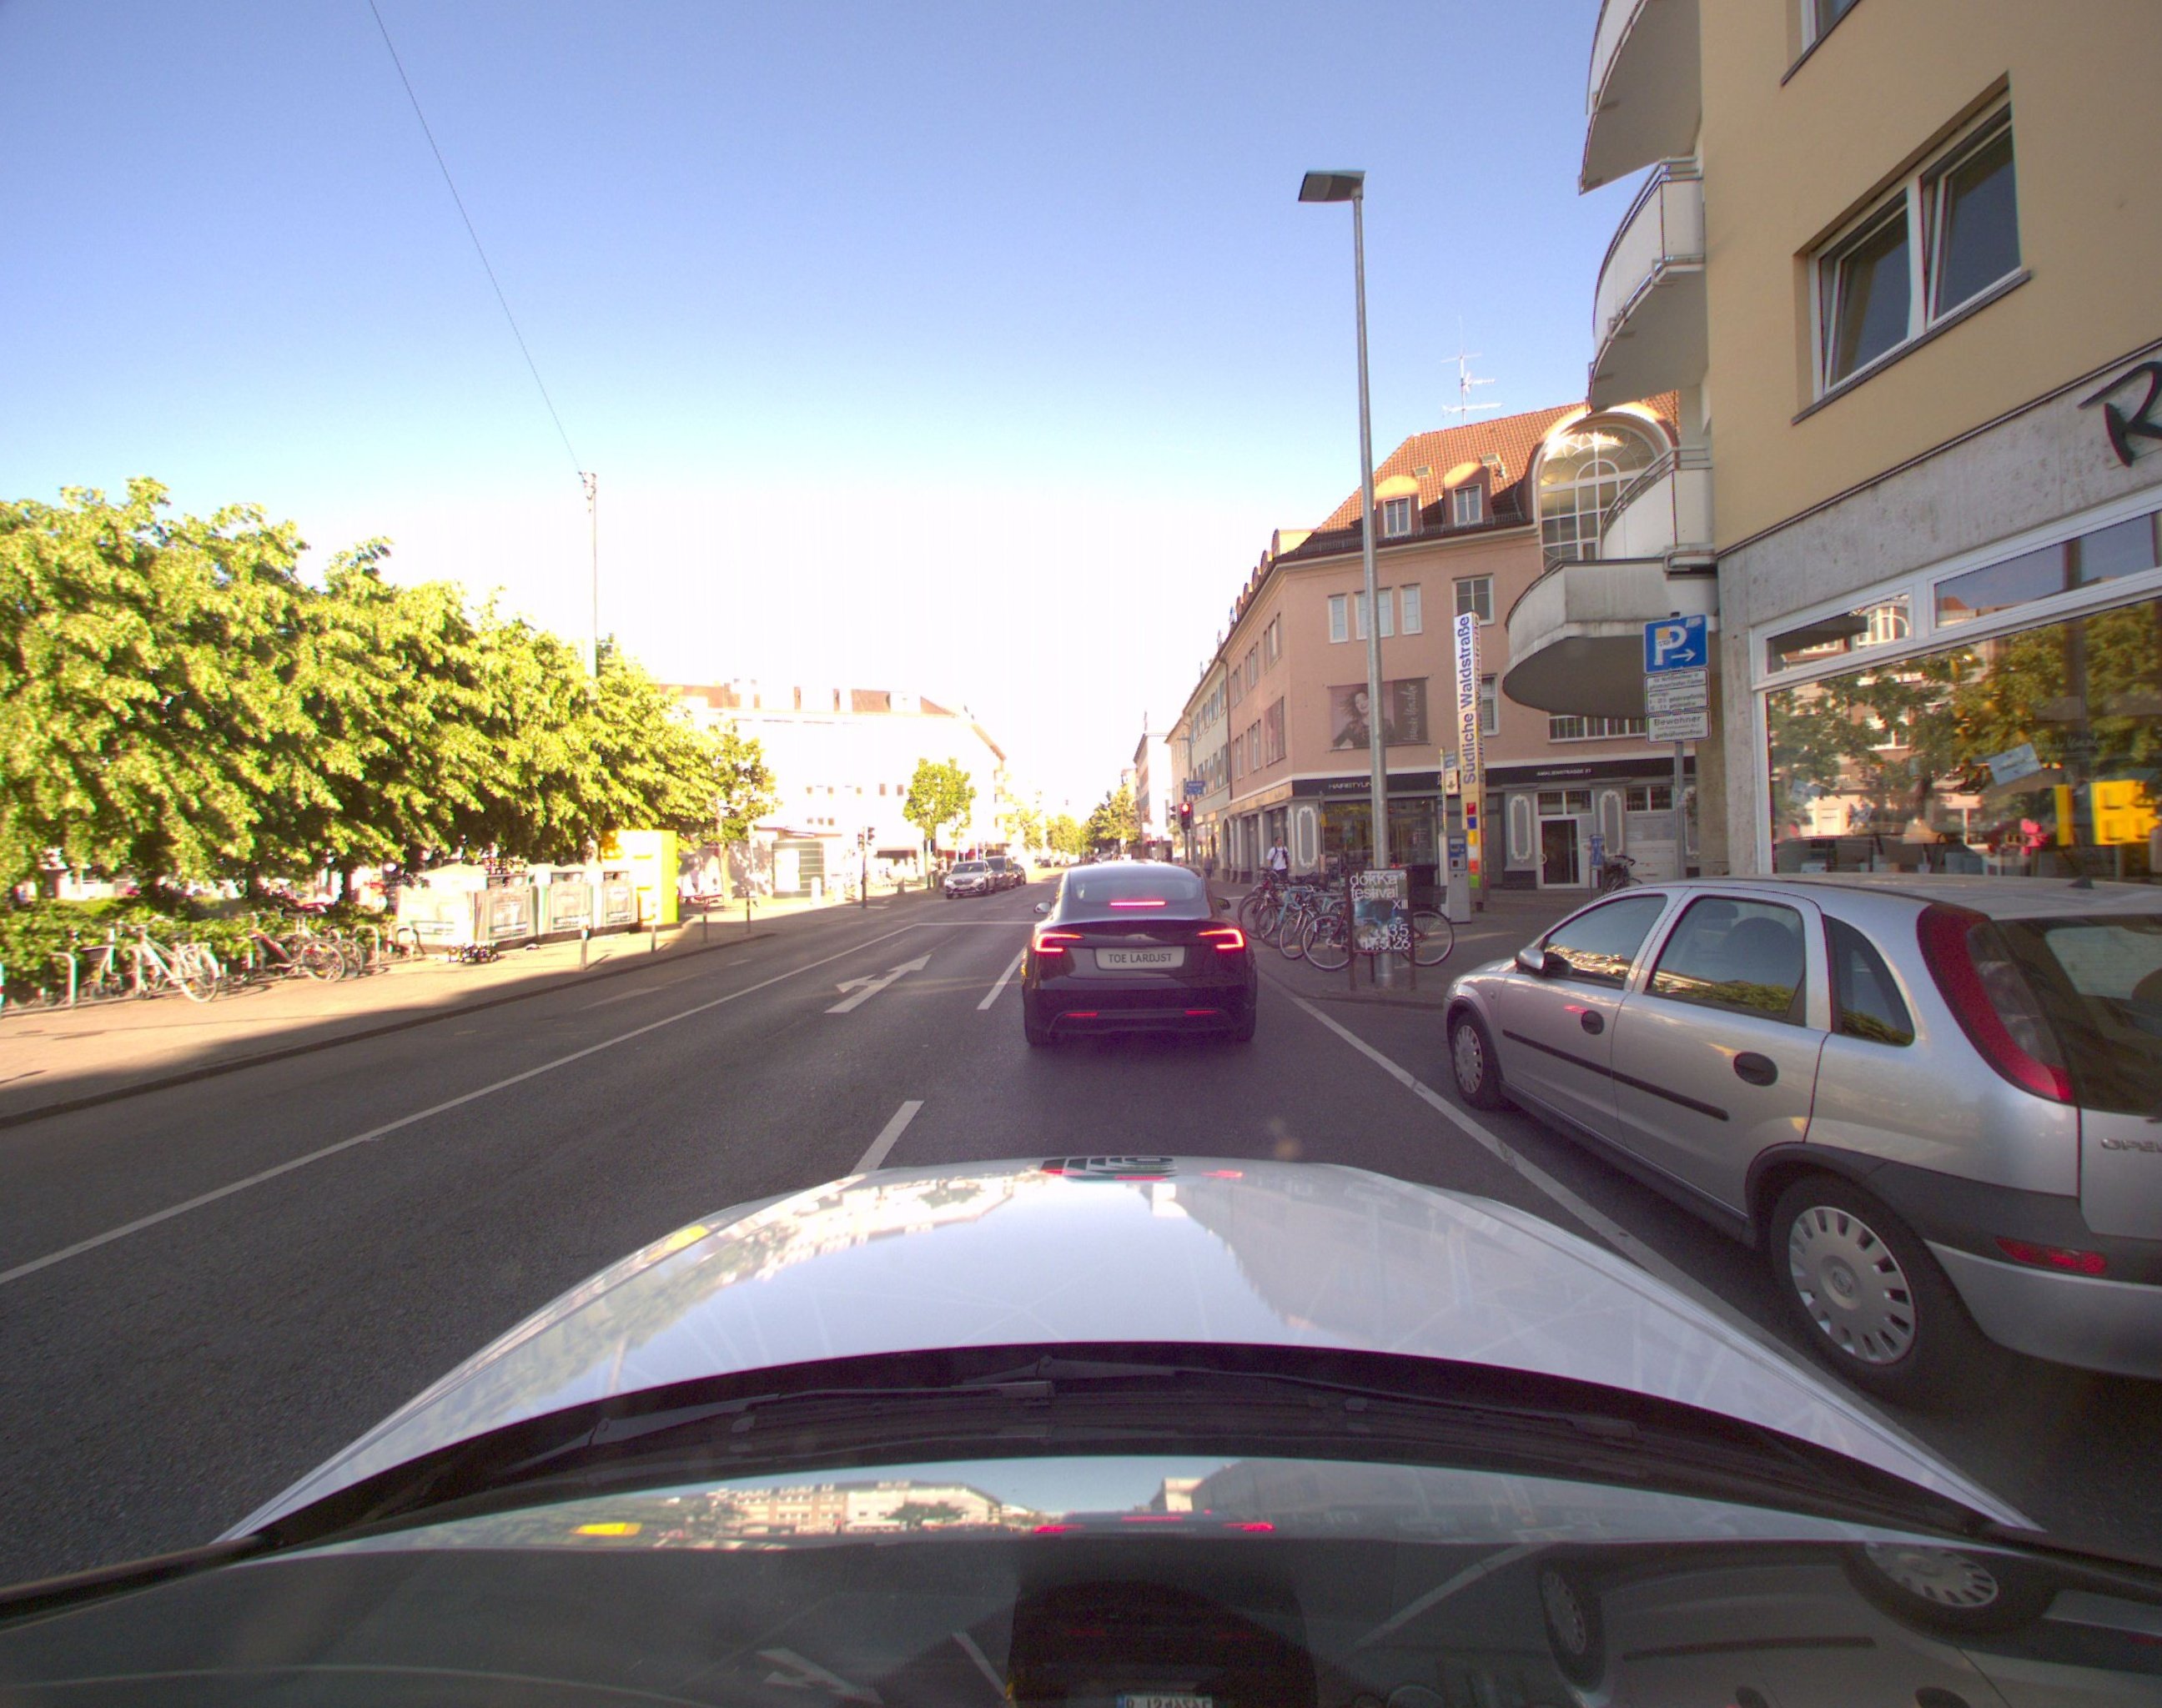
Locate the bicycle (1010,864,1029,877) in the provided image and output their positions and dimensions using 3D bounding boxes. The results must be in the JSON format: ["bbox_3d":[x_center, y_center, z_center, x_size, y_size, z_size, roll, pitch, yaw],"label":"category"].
[{"bbox_3d":[-5.170,1.375,68.532,1.562,1.012,0.480,0,-1,-22],"label":"bicycle"}]

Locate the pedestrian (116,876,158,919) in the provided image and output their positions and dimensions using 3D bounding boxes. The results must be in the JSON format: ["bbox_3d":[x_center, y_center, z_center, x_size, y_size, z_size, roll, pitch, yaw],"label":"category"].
[{"bbox_3d":[-45.141,2.062,38.937,1.145,2.013,1.040,-1,0,26],"label":"pedestrian"}]

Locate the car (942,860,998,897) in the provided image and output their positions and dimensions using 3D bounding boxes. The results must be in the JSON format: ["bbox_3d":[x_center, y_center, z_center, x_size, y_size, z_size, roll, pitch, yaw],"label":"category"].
[{"bbox_3d":[-4.884,1.043,36.394,1.782,1.460,3.759,-4,-1,2],"label":"car"}]

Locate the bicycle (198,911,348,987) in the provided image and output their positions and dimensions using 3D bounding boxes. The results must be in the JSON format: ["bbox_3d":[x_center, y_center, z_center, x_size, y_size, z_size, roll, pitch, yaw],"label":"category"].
[{"bbox_3d":[-11.546,1.343,11.645,1.913,1.003,0.518,-1,-1,11],"label":"bicycle"}]

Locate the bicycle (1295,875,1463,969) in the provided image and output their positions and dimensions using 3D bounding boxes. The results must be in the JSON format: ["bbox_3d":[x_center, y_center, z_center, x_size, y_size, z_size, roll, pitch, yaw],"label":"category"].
[{"bbox_3d":[3.630,0.830,10.004,1.862,1.038,0.354,-3,-1,8],"label":"bicycle"}]

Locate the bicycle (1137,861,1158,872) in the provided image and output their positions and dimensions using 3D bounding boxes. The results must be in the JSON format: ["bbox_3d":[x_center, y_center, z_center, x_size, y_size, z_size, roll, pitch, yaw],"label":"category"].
[{"bbox_3d":[5.793,1.082,71.192,1.787,1.007,0.469,0,-1,-15],"label":"bicycle"}]

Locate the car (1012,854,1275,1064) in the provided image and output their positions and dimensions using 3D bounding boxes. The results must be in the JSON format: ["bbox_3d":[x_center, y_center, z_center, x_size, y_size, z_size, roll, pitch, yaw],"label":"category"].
[{"bbox_3d":[0.497,0.754,7.718,1.815,1.442,4.001,-1,-1,2],"label":"car"}]

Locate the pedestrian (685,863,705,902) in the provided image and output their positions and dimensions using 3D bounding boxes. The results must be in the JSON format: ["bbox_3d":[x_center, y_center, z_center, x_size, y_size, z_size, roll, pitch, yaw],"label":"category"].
[{"bbox_3d":[-17.184,1.273,36.275,0.472,1.716,0.713,-1,-1,11],"label":"pedestrian"}]

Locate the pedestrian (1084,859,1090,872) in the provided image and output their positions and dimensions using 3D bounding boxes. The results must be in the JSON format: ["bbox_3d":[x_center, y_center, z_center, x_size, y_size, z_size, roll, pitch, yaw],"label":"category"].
[{"bbox_3d":[0.729,1.300,93.812,0.524,1.422,0.475,0,-1,-28],"label":"pedestrian"}]

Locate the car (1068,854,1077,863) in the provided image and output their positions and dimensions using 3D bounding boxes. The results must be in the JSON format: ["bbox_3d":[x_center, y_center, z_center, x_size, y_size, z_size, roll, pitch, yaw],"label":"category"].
[{"bbox_3d":[-1.903,0.944,187.431,1.986,2.013,4.001,-1,0,2],"label":"car"}]

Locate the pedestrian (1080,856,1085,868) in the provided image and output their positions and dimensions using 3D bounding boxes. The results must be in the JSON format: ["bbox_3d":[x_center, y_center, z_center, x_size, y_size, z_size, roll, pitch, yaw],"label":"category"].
[{"bbox_3d":[0.169,0.907,93.548,0.474,1.417,0.517,0,-1,-29],"label":"pedestrian"}]

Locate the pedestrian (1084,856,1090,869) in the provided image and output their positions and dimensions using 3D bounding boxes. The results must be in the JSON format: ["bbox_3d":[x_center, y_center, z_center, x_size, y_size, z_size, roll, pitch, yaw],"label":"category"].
[{"bbox_3d":[0.669,0.948,93.042,0.524,1.422,0.475,0,-1,-28],"label":"pedestrian"}]

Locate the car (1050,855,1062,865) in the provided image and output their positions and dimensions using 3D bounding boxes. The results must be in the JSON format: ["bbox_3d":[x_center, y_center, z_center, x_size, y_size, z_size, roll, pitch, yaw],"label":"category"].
[{"bbox_3d":[-4.003,0.945,128.280,1.703,1.552,3.692,-1,0,-4],"label":"car"}]

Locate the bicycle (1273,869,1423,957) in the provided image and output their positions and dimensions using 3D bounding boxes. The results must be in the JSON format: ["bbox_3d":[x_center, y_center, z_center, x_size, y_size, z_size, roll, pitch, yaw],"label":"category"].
[{"bbox_3d":[3.649,0.799,11.199,1.864,1.087,0.415,-3,-1,5],"label":"bicycle"}]

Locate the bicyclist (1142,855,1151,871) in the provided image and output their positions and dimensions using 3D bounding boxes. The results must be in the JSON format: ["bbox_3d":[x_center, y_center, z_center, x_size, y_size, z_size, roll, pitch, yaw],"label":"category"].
[{"bbox_3d":[5.717,0.748,71.167,0.670,1.395,0.460,0,-1,-14],"label":"bicyclist"}]

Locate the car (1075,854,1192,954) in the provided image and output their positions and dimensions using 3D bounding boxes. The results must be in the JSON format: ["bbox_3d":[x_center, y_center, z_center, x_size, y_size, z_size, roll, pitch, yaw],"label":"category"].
[{"bbox_3d":[0.792,0.742,13.922,1.712,1.425,3.757,-1,0,0],"label":"car"}]

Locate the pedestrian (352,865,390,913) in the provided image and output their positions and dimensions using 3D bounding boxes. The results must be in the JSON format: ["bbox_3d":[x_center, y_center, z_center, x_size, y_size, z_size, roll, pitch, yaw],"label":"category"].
[{"bbox_3d":[-26.026,1.283,29.867,0.754,1.698,0.793,-1,0,25],"label":"pedestrian"}]

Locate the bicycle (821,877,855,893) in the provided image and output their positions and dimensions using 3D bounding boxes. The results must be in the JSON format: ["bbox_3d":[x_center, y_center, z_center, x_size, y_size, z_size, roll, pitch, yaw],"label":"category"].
[{"bbox_3d":[-12.842,1.630,43.084,1.640,0.792,0.606,0,-1,-3],"label":"bicycle"}]

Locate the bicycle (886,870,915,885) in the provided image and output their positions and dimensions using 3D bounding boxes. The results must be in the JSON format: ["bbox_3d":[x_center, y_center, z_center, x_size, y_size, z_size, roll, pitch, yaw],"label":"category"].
[{"bbox_3d":[-12.191,1.577,55.030,1.857,0.934,0.606,-1,0,0],"label":"bicycle"}]

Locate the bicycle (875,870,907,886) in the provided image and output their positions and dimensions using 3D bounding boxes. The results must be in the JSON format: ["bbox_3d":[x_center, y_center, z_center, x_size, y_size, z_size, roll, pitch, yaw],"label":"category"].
[{"bbox_3d":[-12.271,1.558,52.582,1.857,0.934,0.606,-1,0,0],"label":"bicycle"}]

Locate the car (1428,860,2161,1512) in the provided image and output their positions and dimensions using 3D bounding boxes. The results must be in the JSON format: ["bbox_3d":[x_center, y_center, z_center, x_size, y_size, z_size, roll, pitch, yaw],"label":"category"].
[{"bbox_3d":[2.943,0.737,3.501,1.540,1.390,3.479,-1,-1,3],"label":"car"}]

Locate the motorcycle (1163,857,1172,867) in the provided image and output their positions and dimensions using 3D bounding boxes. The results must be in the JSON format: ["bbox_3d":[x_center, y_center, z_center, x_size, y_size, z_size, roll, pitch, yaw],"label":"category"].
[{"bbox_3d":[9.632,0.873,90.606,0.985,1.086,0.352,-2,0,-35],"label":"motorcycle"}]

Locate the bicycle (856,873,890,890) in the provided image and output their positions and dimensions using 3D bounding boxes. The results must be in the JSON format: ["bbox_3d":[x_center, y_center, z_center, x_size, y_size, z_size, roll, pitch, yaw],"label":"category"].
[{"bbox_3d":[-12.199,1.613,47.772,1.857,0.934,0.606,0,-1,0],"label":"bicycle"}]

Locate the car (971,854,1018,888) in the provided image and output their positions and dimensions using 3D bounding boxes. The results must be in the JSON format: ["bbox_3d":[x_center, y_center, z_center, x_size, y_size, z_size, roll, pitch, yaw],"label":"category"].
[{"bbox_3d":[-4.460,0.862,42.625,1.780,1.646,4.404,-1,0,2],"label":"car"}]

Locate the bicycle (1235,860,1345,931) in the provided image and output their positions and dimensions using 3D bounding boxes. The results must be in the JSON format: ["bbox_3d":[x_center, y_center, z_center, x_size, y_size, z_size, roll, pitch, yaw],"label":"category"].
[{"bbox_3d":[3.775,0.753,14.792,1.818,1.169,0.507,-3,-1,7],"label":"bicycle"}]

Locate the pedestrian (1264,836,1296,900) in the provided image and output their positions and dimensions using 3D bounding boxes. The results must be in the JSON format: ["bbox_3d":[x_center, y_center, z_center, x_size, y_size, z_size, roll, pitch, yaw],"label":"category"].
[{"bbox_3d":[5.591,0.379,22.888,0.747,1.765,0.838,0,-1,6],"label":"pedestrian"}]

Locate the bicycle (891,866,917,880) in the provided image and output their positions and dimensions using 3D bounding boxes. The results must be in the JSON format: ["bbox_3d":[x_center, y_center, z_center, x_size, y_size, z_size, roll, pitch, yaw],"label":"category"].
[{"bbox_3d":[-17.074,1.818,78.498,2.373,1.296,0.509,0,-1,-25],"label":"bicycle"}]

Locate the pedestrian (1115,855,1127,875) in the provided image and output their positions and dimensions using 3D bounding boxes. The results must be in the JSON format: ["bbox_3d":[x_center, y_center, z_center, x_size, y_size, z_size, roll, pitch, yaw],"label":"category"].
[{"bbox_3d":[3.365,0.940,68.308,0.756,1.631,0.951,0,-1,-16],"label":"pedestrian"}]

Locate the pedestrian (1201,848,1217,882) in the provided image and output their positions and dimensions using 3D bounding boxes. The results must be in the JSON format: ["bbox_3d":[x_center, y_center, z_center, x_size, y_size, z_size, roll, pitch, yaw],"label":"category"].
[{"bbox_3d":[6.595,0.559,42.041,0.704,1.742,0.540,-1,0,1],"label":"pedestrian"}]

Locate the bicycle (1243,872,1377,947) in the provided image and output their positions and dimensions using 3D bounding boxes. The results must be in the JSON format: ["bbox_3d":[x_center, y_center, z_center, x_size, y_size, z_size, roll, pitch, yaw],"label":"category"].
[{"bbox_3d":[3.490,0.845,12.507,1.864,1.038,0.534,-3,-1,5],"label":"bicycle"}]

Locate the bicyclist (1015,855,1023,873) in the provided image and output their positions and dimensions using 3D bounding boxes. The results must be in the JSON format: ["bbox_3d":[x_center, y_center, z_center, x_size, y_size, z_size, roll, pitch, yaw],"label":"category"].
[{"bbox_3d":[-5.243,0.850,68.509,0.525,1.503,0.473,0,-1,-22],"label":"bicyclist"}]

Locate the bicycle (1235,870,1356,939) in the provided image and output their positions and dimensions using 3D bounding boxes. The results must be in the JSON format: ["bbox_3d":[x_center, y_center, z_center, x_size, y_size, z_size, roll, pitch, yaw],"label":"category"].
[{"bbox_3d":[3.579,0.834,13.676,1.863,1.038,0.548,-3,-1,7],"label":"bicycle"}]

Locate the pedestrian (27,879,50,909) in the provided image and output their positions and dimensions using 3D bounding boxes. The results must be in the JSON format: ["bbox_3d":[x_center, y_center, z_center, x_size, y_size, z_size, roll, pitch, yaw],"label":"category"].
[{"bbox_3d":[-77.723,2.990,60.706,0.891,2.171,0.882,-1,-1,26],"label":"pedestrian"}]

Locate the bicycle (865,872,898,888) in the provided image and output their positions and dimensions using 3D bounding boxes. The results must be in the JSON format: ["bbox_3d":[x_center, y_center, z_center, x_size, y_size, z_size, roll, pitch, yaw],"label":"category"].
[{"bbox_3d":[-12.324,1.589,50.251,1.857,0.934,0.606,0,-1,0],"label":"bicycle"}]

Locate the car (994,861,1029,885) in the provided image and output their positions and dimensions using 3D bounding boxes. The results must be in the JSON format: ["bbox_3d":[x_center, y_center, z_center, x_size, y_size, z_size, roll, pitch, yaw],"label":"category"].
[{"bbox_3d":[-4.316,1.171,50.808,1.709,1.446,3.846,0,-1,2],"label":"car"}]

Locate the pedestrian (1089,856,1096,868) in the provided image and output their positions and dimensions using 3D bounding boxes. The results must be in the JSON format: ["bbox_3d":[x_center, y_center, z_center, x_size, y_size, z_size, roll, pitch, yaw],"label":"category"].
[{"bbox_3d":[1.321,0.933,93.452,0.524,1.422,0.475,0,-1,-28],"label":"pedestrian"}]

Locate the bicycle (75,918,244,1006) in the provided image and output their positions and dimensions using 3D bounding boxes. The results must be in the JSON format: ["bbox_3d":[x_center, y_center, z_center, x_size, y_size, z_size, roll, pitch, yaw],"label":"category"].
[{"bbox_3d":[-11.625,1.334,10.282,1.919,1.015,0.518,-1,-1,12],"label":"bicycle"}]

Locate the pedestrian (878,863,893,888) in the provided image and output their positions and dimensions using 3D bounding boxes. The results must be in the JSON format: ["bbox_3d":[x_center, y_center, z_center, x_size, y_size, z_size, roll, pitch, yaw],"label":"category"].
[{"bbox_3d":[-15.943,1.756,66.396,1.060,2.014,1.049,0,-1,-18],"label":"pedestrian"}]

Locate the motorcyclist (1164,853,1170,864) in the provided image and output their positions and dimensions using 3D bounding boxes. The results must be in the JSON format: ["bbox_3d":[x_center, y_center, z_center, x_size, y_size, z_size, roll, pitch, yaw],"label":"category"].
[{"bbox_3d":[9.609,0.475,90.591,0.493,1.253,0.351,-2,0,-34],"label":"motorcyclist"}]

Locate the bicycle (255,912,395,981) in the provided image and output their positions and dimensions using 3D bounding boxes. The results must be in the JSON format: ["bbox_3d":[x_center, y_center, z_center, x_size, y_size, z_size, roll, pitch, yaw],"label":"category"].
[{"bbox_3d":[-11.323,1.366,12.205,1.888,0.955,0.518,-1,-1,11],"label":"bicycle"}]

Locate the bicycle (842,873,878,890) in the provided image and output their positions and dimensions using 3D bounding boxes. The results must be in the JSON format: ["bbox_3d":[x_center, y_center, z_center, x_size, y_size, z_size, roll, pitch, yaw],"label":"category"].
[{"bbox_3d":[-12.393,1.552,45.654,1.857,0.934,0.606,-1,-1,0],"label":"bicycle"}]

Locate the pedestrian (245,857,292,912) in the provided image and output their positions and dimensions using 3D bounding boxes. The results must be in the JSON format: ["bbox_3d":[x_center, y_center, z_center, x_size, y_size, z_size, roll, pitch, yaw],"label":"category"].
[{"bbox_3d":[-30.587,1.140,30.666,0.890,2.013,0.893,-1,0,15],"label":"pedestrian"}]

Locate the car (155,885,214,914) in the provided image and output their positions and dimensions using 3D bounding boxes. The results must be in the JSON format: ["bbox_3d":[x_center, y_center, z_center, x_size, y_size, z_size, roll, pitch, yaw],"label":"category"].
[{"bbox_3d":[-47.349,2.379,42.986,3.526,1.386,1.703,-1,0,36],"label":"car"}]
